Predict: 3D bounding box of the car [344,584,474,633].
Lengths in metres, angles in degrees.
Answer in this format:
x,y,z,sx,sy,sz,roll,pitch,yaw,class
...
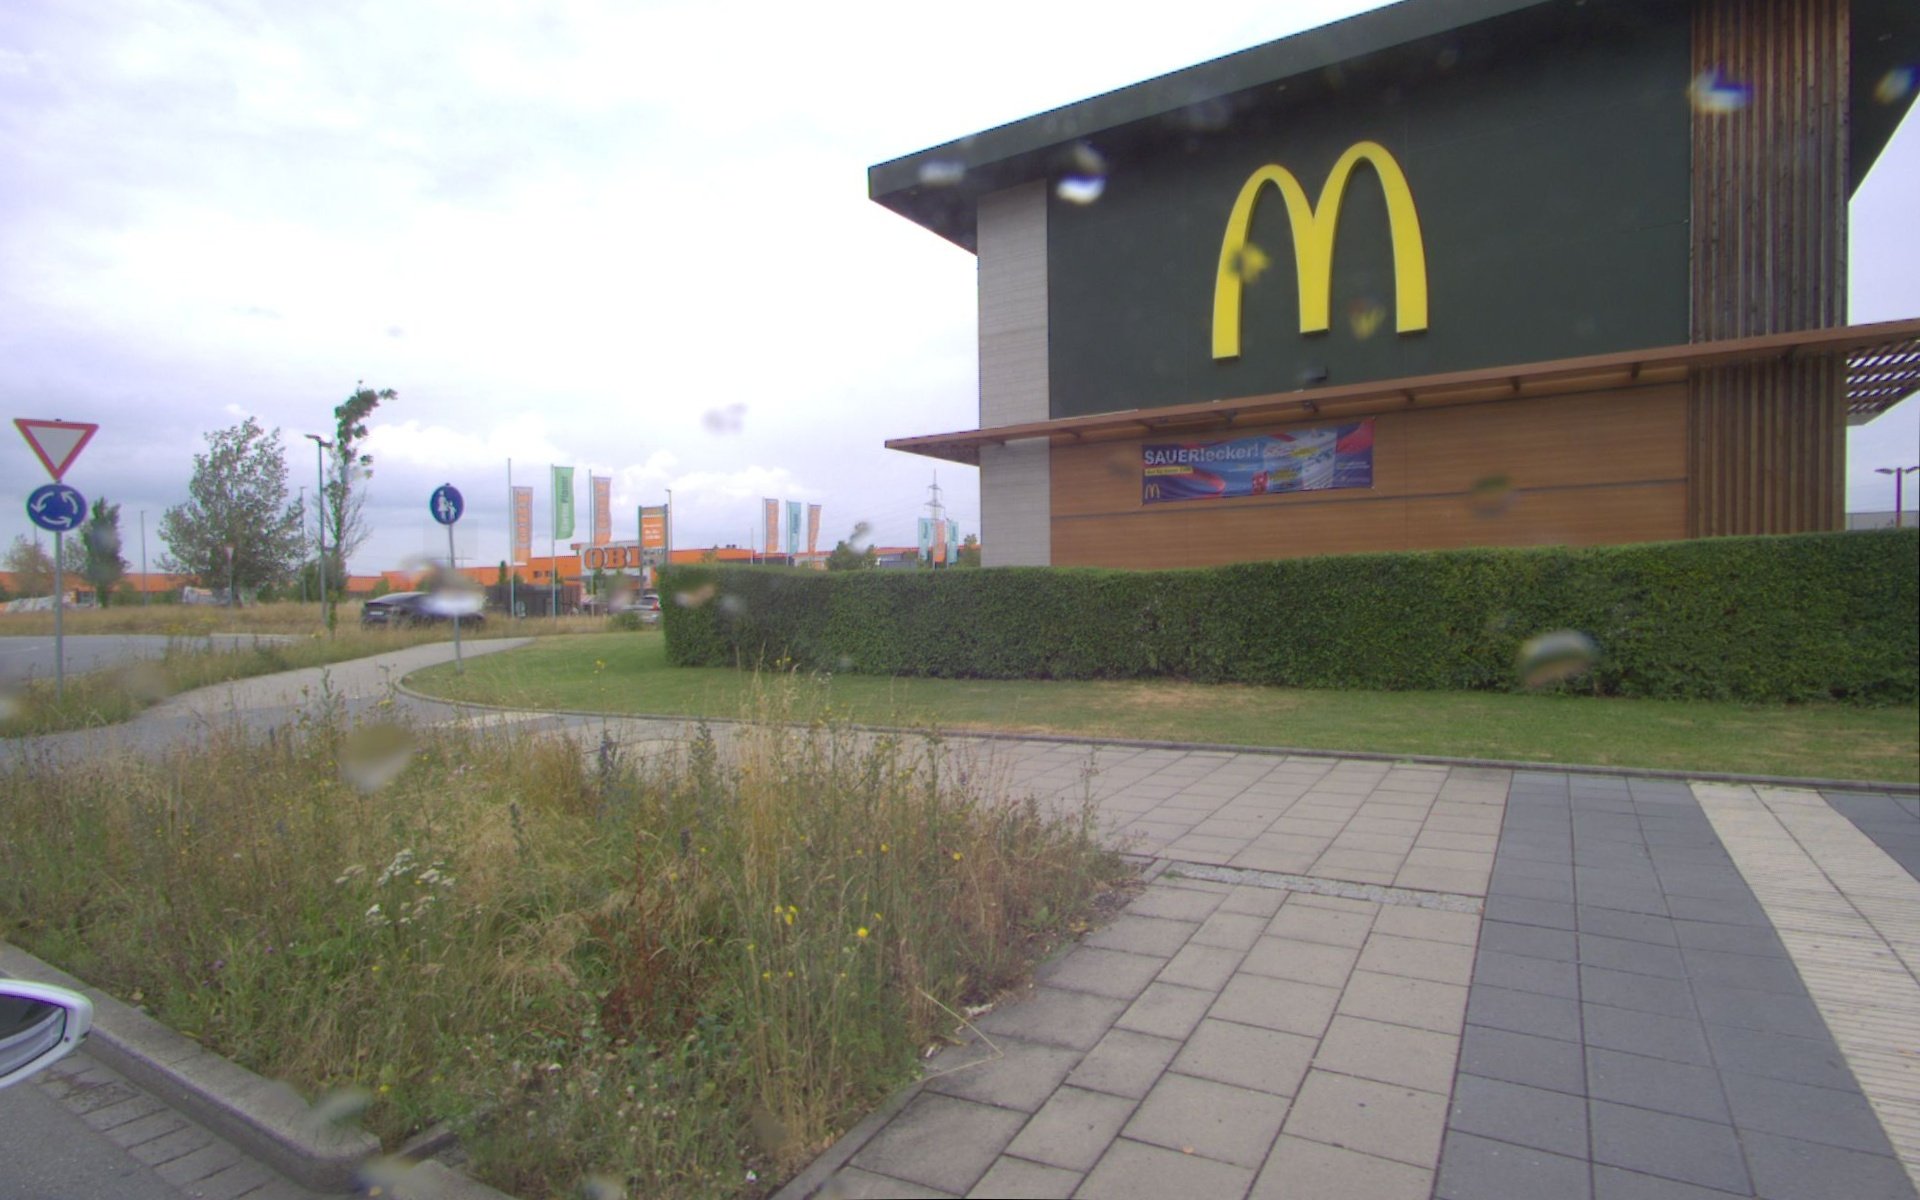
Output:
x,y,z,sx,sy,sz,roll,pitch,yaw,class
-19.077,0.232,34.978,1.906,1.519,4.771,1,2,0,car

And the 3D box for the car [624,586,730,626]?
x,y,z,sx,sy,sz,roll,pitch,yaw,class
-13.354,0.232,47.531,1.917,1.762,4.745,2,2,34,car
